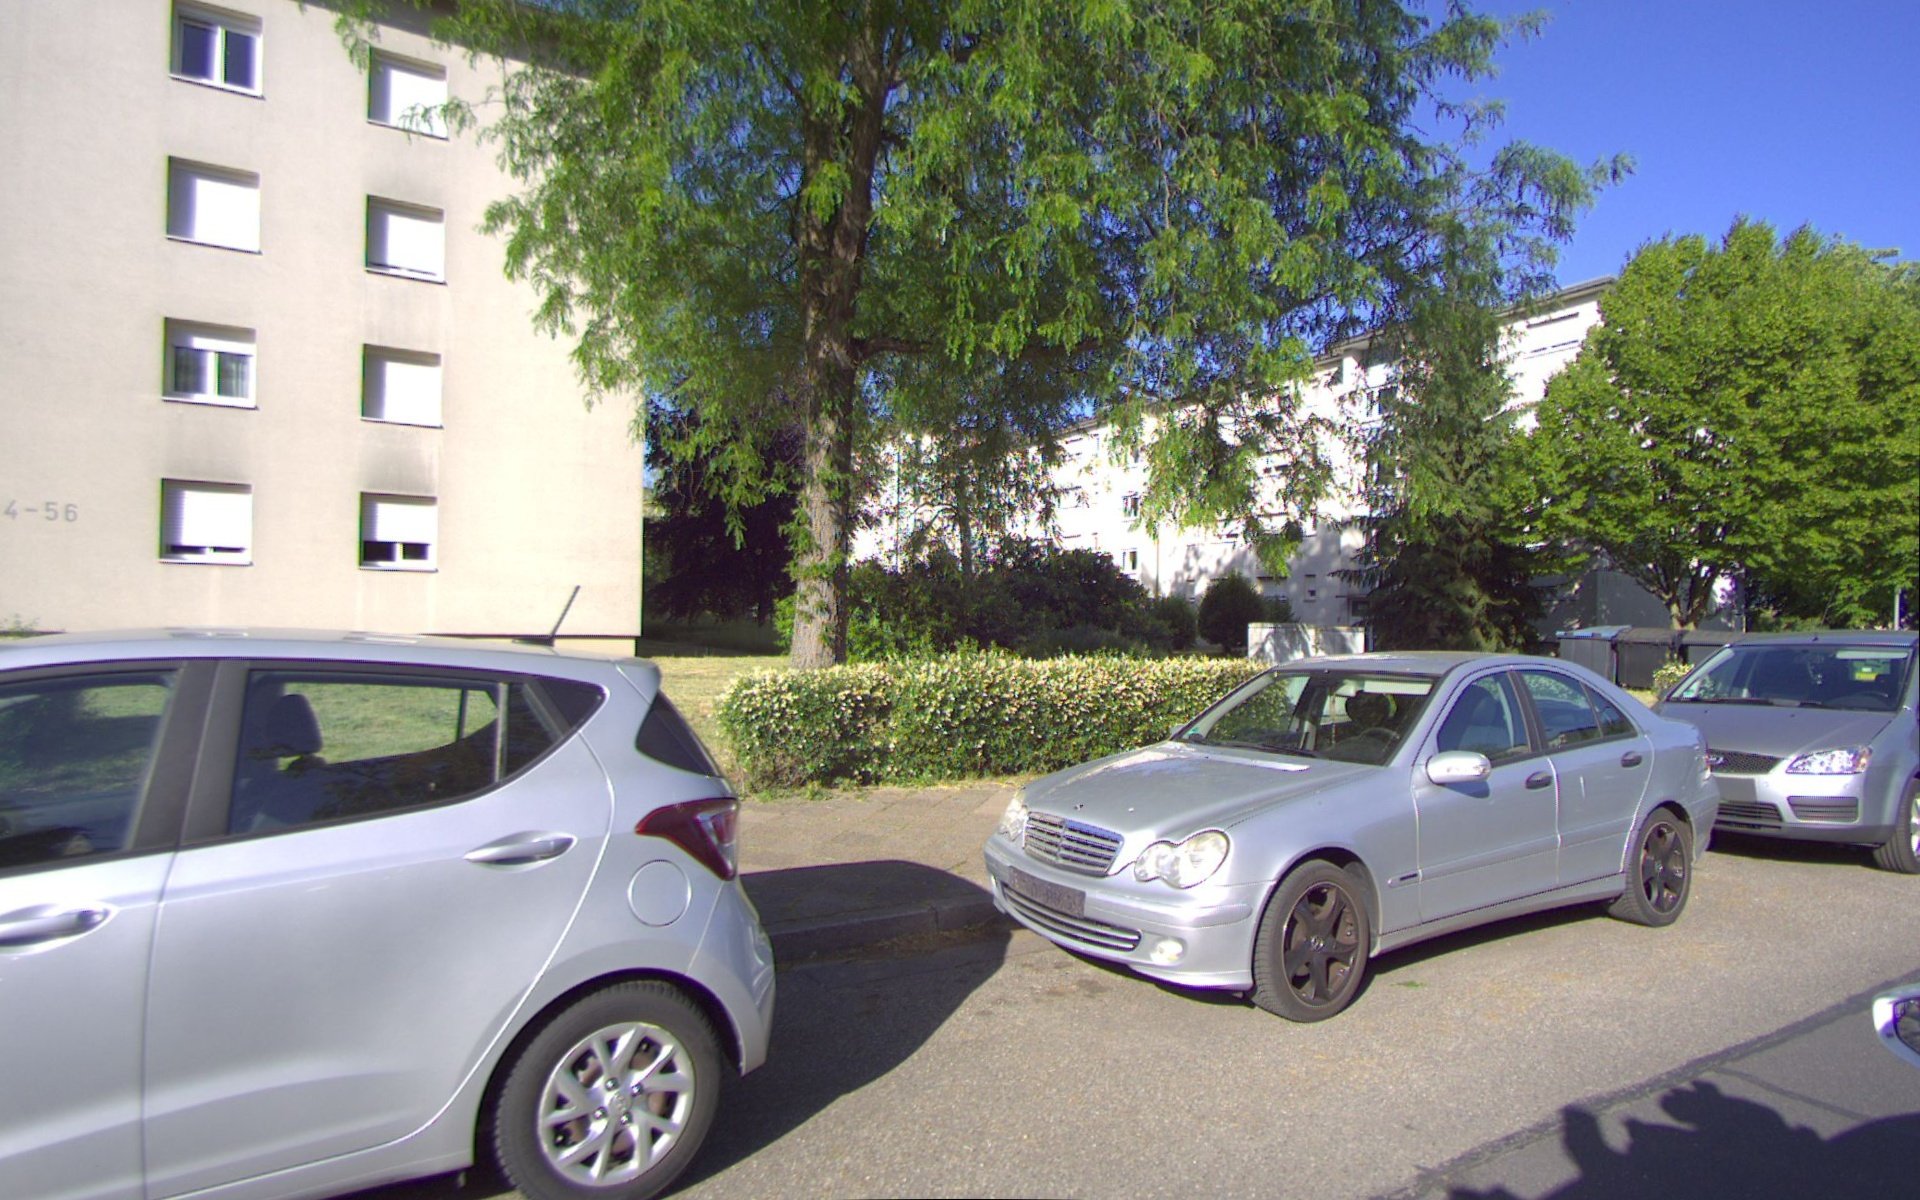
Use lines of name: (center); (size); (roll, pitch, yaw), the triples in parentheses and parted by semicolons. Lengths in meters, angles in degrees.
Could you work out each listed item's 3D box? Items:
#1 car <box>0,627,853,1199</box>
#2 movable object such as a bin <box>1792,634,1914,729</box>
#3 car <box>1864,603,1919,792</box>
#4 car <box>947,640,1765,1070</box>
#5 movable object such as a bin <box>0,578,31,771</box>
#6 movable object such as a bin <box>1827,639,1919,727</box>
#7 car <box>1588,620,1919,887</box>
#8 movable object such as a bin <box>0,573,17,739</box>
car: (-2.344, 0.841, 2.580); (3.775, 1.525, 1.678); (2, -2, -32)
movable object such as a bin: (14.883, 1.329, 16.751); (1.344, 1.440, 1.096); (1, 2, -29)
car: (11.872, 1.035, 10.941); (4.368, 1.917, 1.845); (2, -2, -32)
car: (2.272, 0.976, 5.369); (4.473, 1.484, 1.679); (2, -3, -31)
movable object such as a bin: (-7.846, 0.556, 7.297); (1.344, 1.440, 1.129); (1, 2, -28)
movable object such as a bin: (16.122, 1.411, 17.494); (1.344, 1.389, 1.096); (1, 2, -29)
car: (6.874, 1.023, 7.890); (3.941, 1.621, 1.701); (2, -3, -32)
movable object such as a bin: (-8.873, 0.487, 8.189); (1.444, 1.440, 1.173); (1, 2, -28)
